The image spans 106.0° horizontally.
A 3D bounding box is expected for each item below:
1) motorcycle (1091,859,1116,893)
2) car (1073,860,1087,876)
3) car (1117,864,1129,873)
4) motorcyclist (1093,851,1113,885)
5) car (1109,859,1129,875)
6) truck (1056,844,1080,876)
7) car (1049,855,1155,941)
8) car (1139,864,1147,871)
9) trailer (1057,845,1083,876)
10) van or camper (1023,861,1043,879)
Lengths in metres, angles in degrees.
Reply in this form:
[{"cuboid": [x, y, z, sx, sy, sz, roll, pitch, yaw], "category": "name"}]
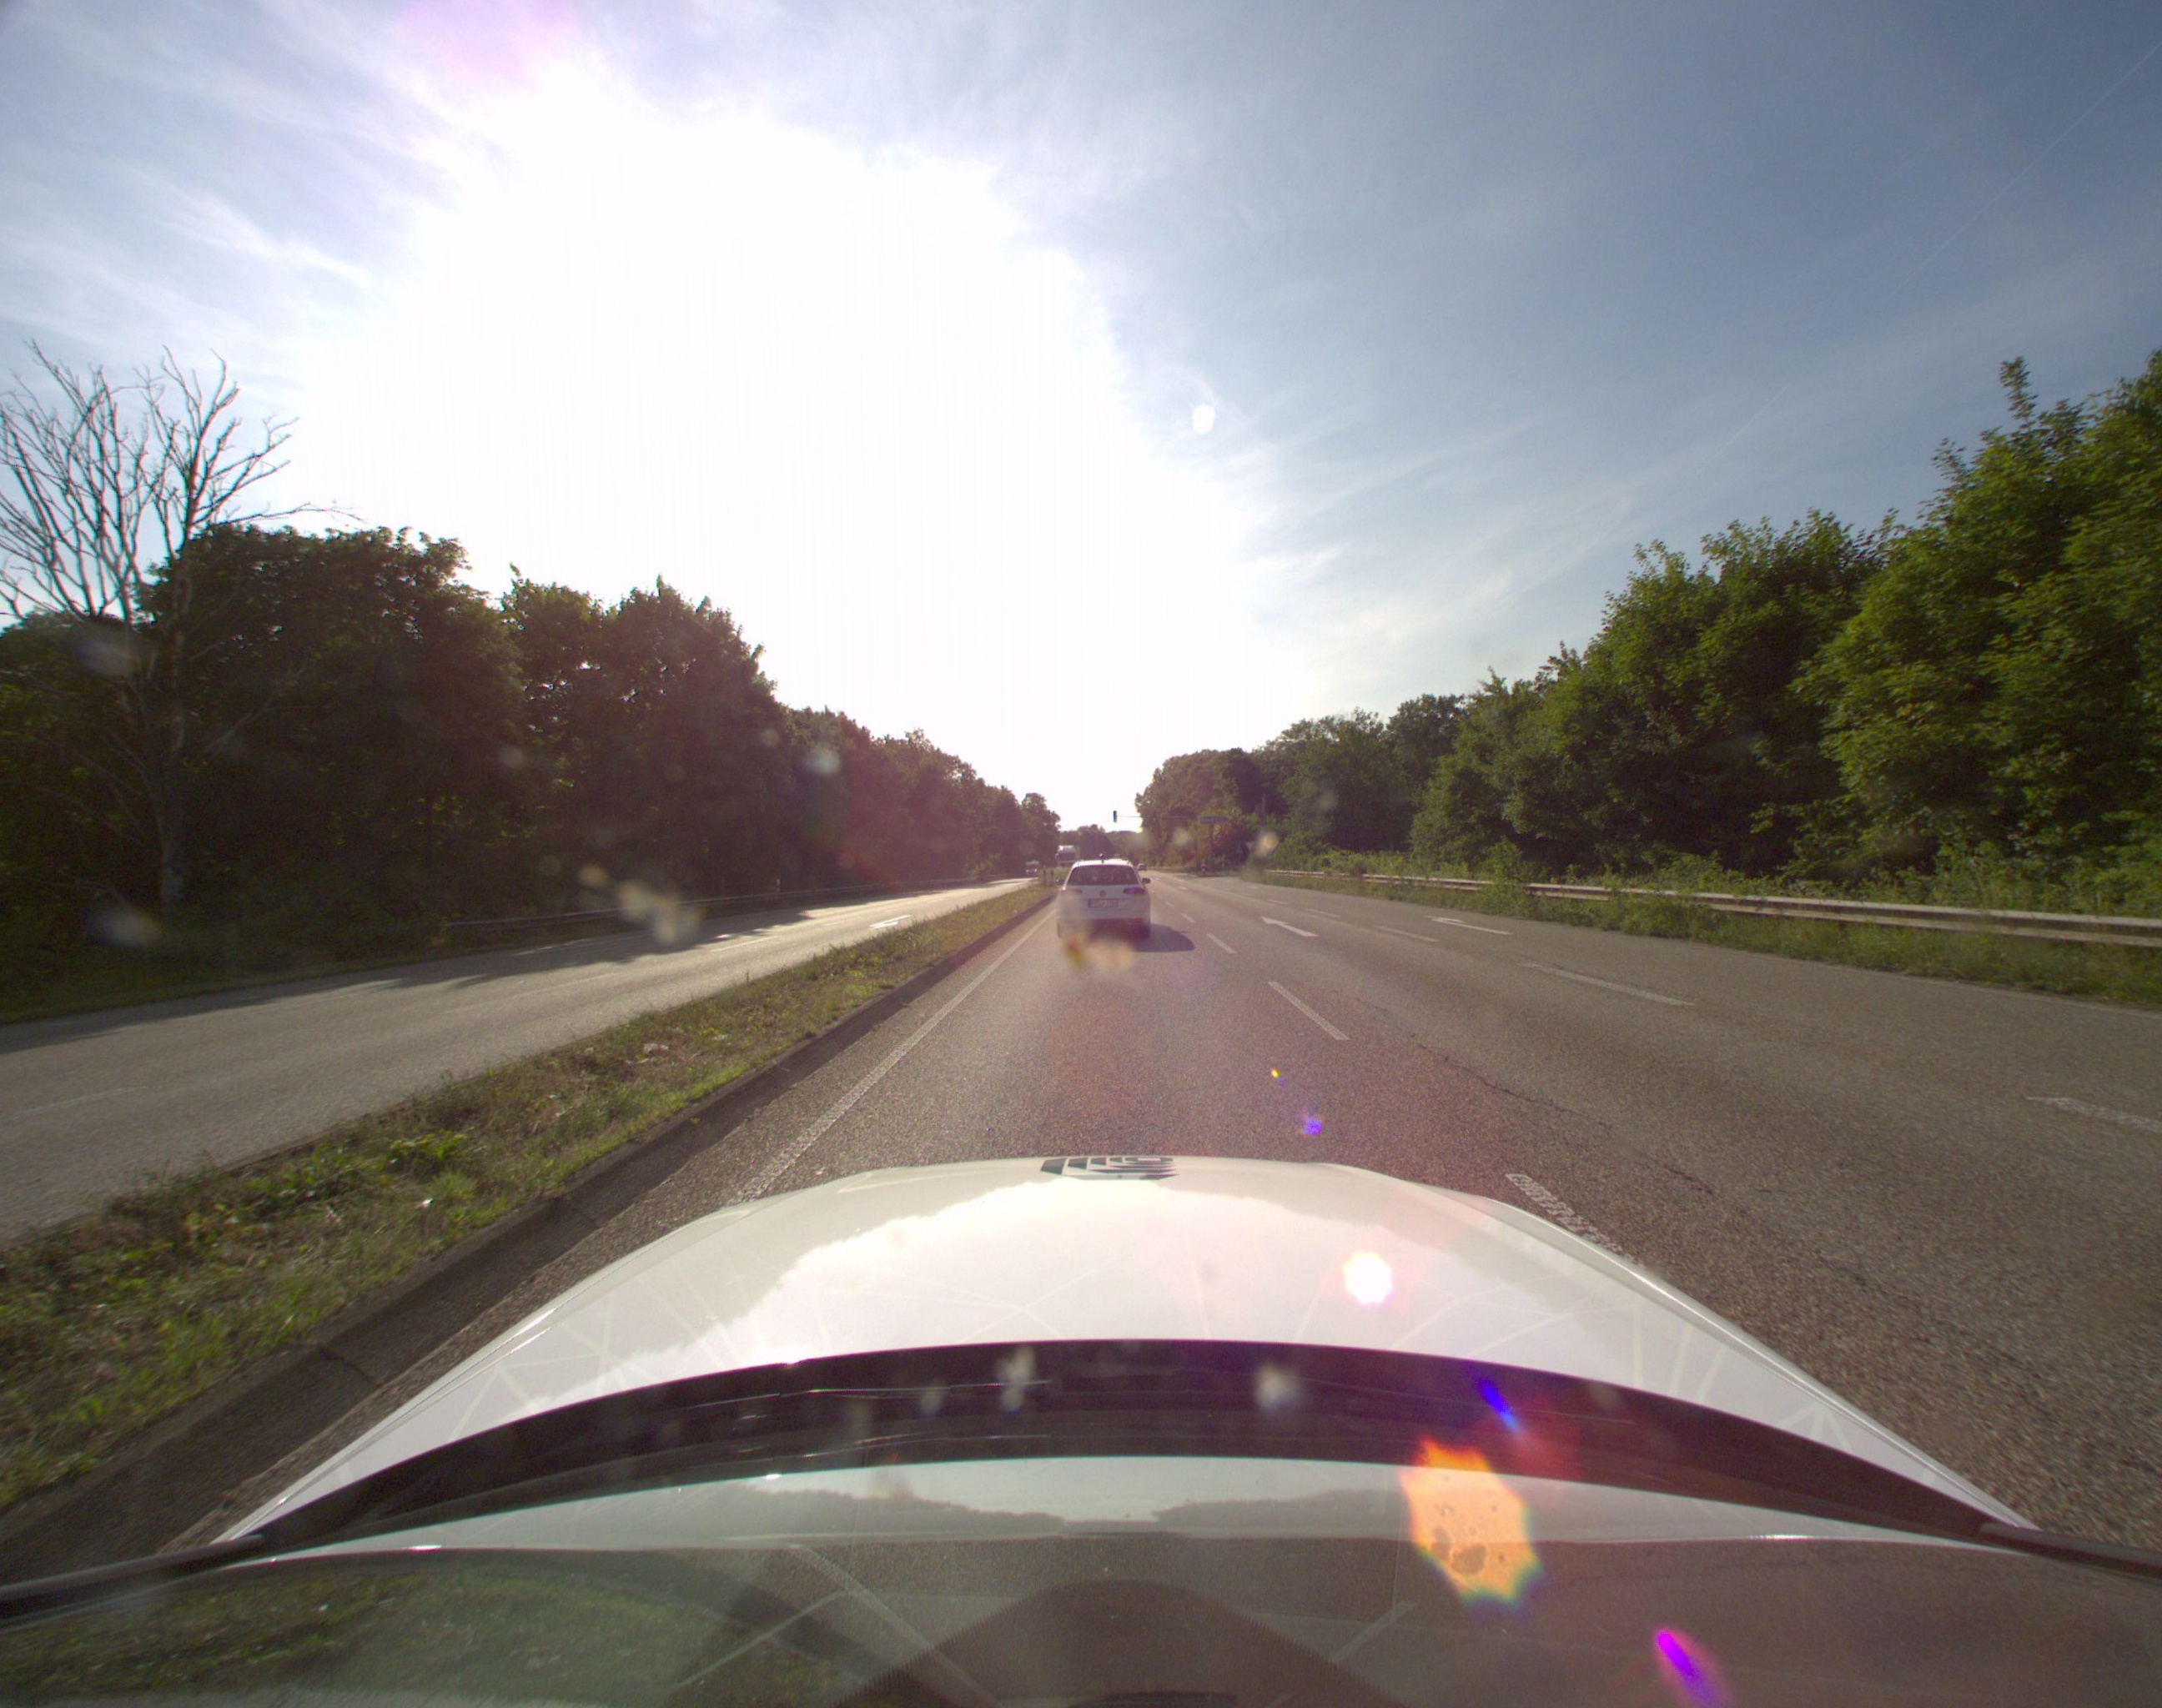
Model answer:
[{"cuboid": [1.081, 1.019, 38.634, 0.904, 1.453, 2.692, -5, -1, 4], "category": "motorcycle"}, {"cuboid": [-0.114, 2.375, 140.530, 2.067, 2.534, 6.167, -3, -1, 3], "category": "car"}, {"cuboid": [6.859, 2.347, 132.539, 1.754, 1.380, 3.975, -1, -1, 3], "category": "car"}, {"cuboid": [1.054, 0.659, 38.746, 0.879, 1.616, 1.292, -1, -1, 4], "category": "motorcyclist"}, {"cuboid": [3.447, 1.136, 73.626, 1.754, 1.380, 3.975, -1, -1, 3], "category": "car"}, {"cuboid": [-1.622, 0.836, 106.289, 2.880, 3.997, 6.722, -1, -1, 1], "category": "truck"}, {"cuboid": [0.504, 0.821, 17.033, 1.862, 1.521, 4.837, -1, -1, 3], "category": "car"}, {"cuboid": [13.460, 2.919, 176.974, 1.754, 1.380, 3.975, -1, -1, 3], "category": "car"}, {"cuboid": [-1.409, 0.951, 114.106, 2.980, 3.996, 14.017, -1, -1, 2], "category": "trailer"}, {"cuboid": [-7.876, 2.603, 133.847, 2.403, 2.711, 6.441, -5, -1, 3], "category": "van or camper"}]
